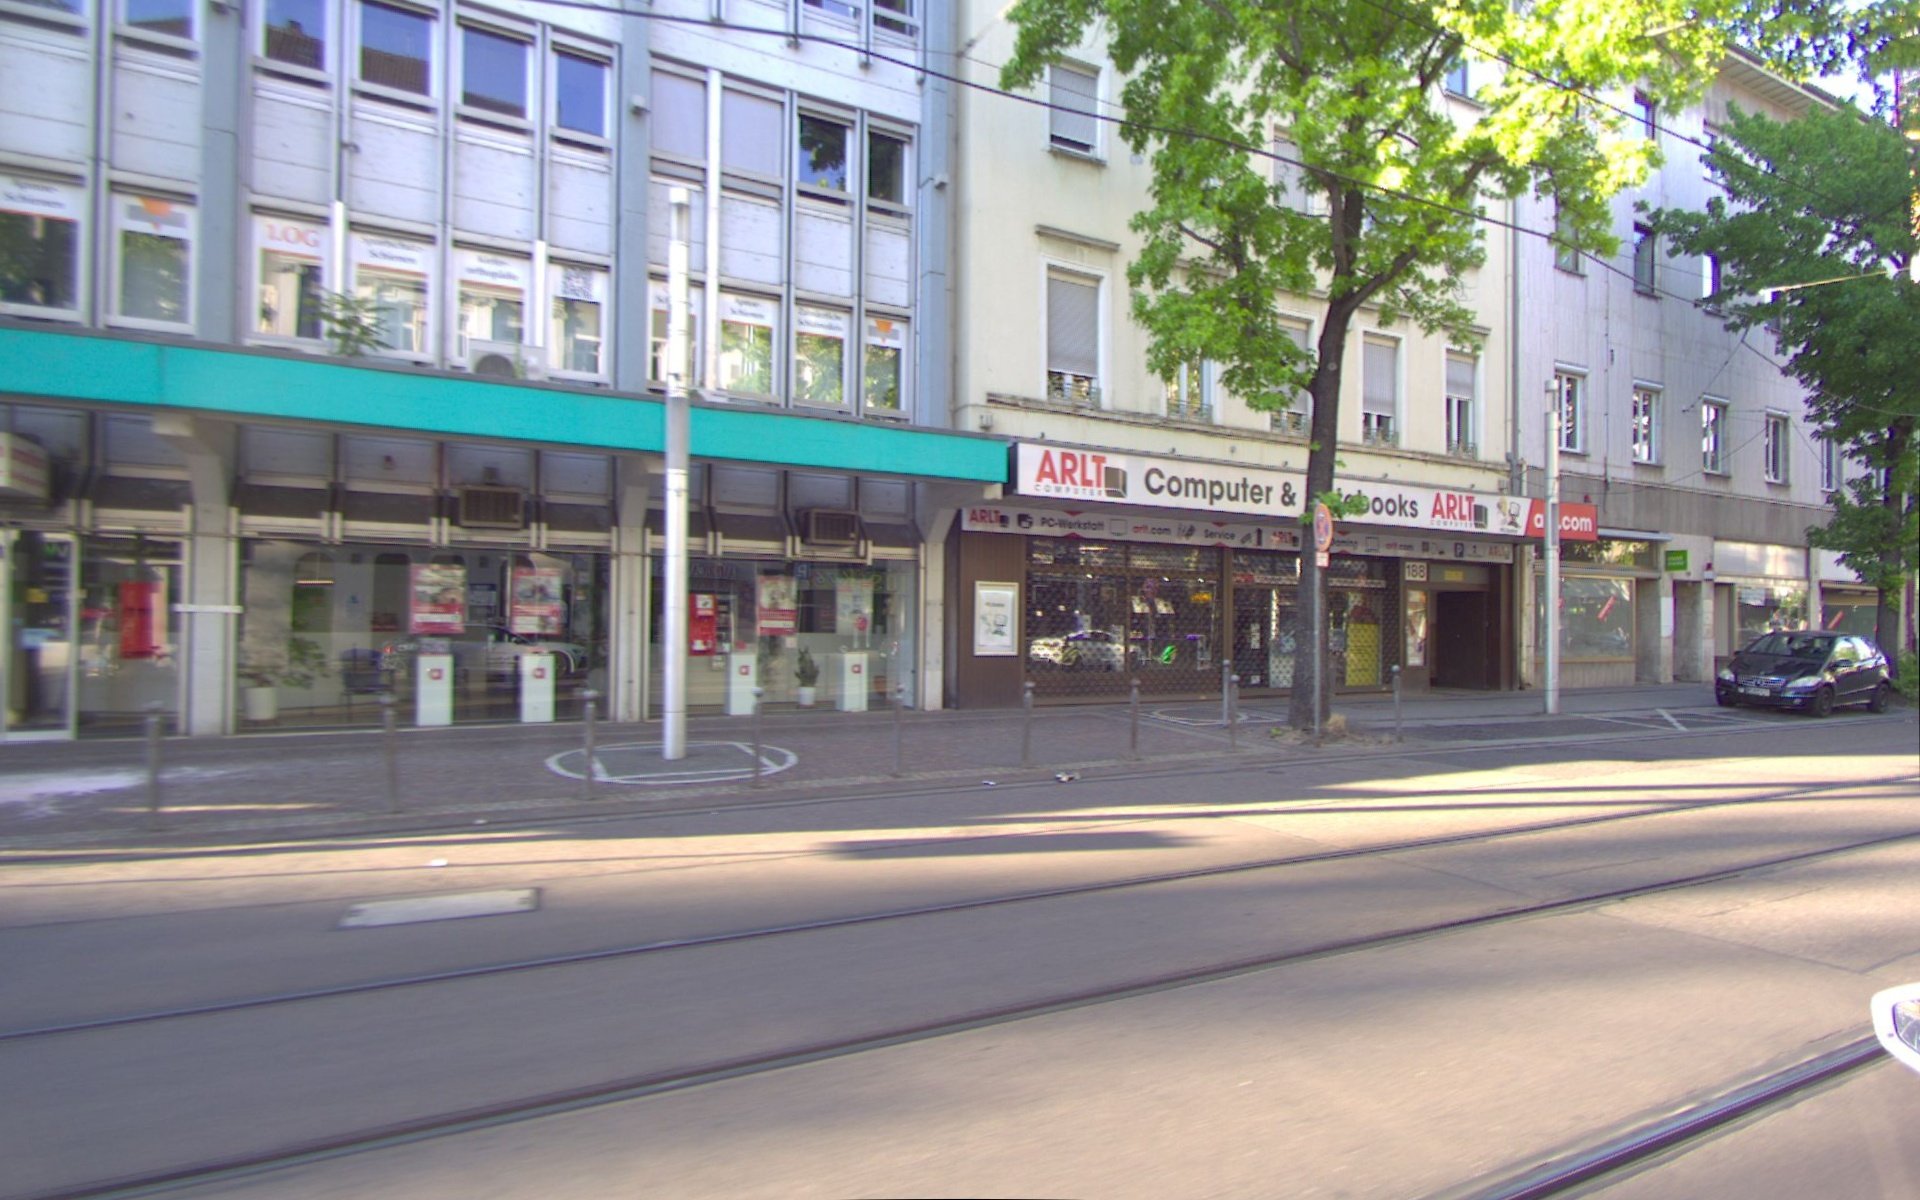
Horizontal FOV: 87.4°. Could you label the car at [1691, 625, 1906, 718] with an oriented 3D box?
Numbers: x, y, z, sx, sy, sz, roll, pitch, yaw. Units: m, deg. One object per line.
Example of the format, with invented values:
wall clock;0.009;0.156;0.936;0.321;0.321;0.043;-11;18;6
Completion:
car;17.149;1.396;20.538;3.948;1.662;1.955;1;0;-27
